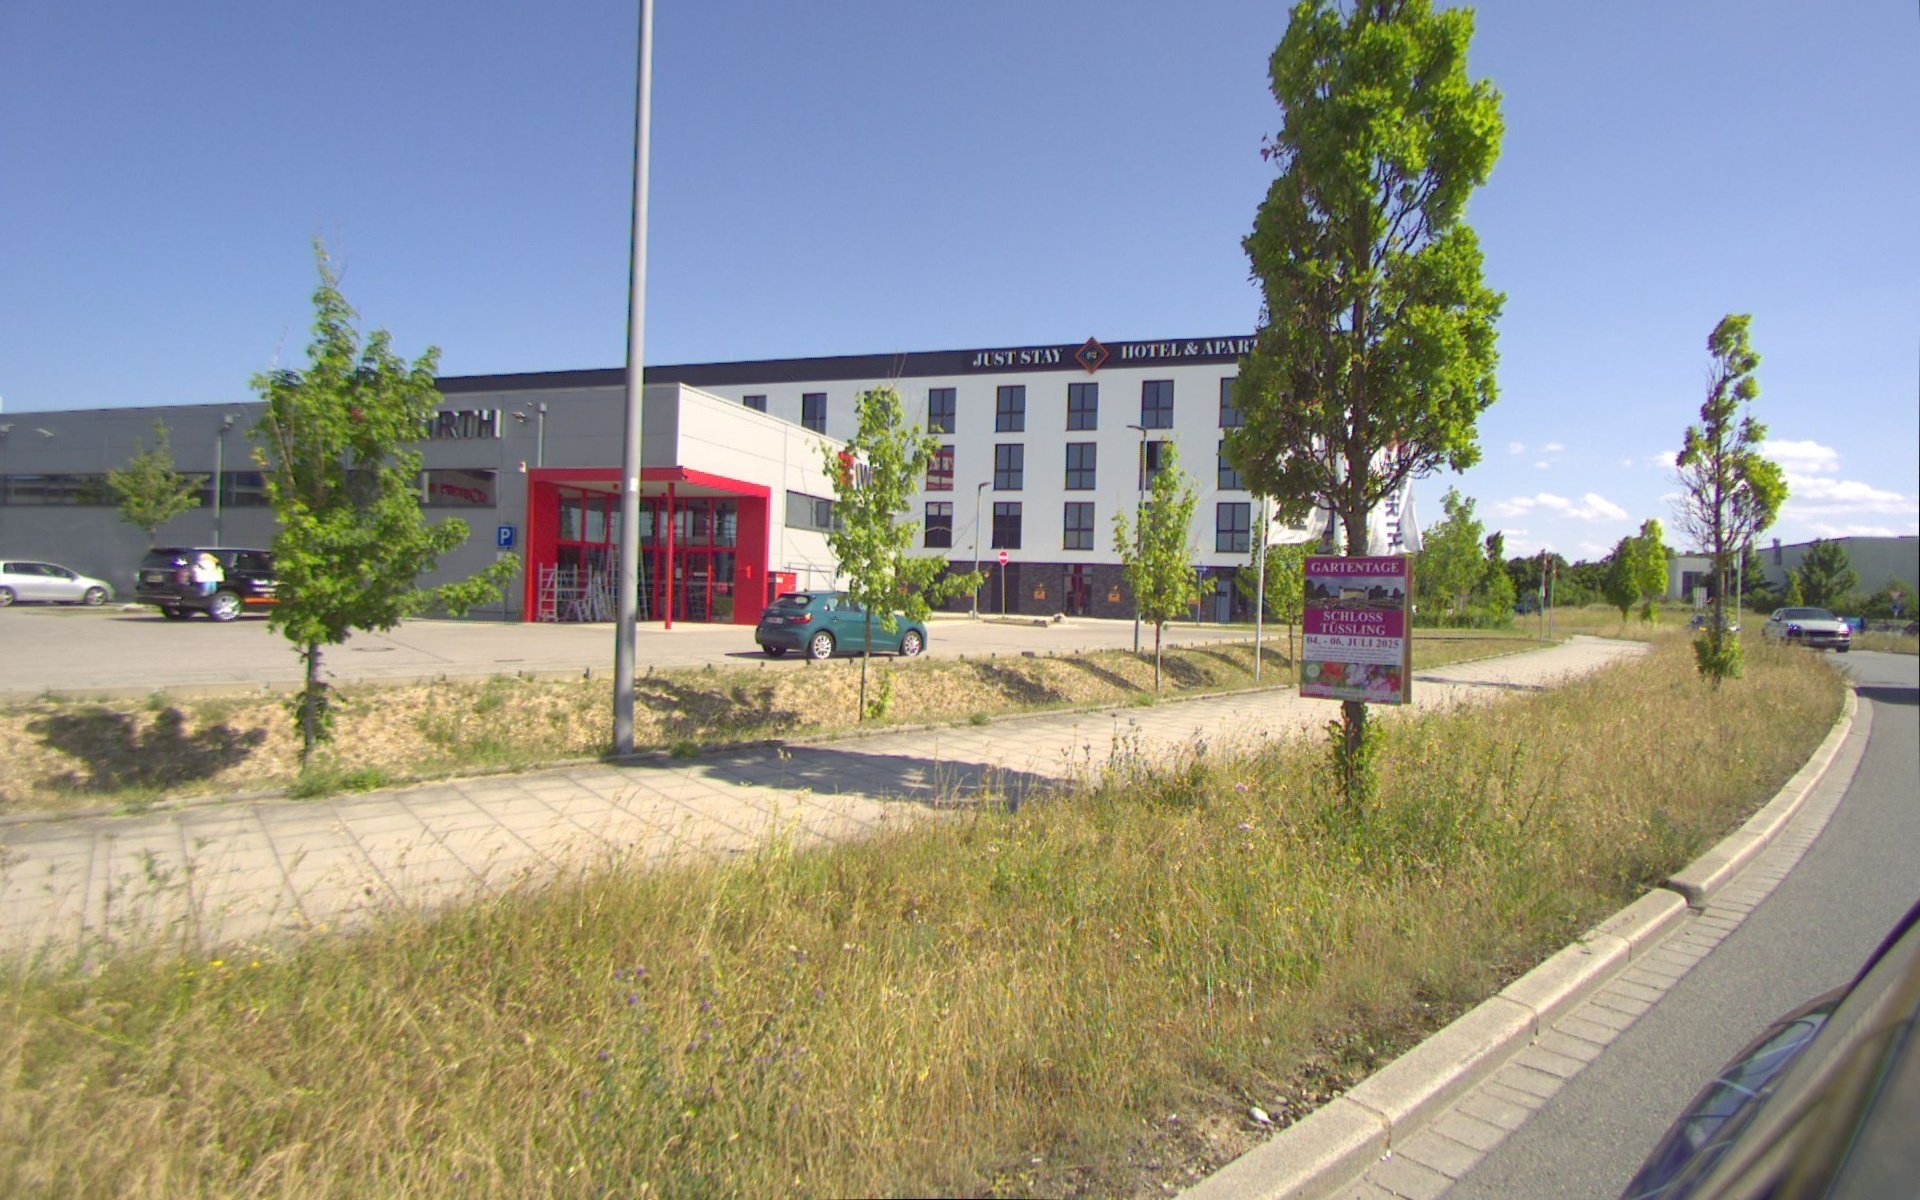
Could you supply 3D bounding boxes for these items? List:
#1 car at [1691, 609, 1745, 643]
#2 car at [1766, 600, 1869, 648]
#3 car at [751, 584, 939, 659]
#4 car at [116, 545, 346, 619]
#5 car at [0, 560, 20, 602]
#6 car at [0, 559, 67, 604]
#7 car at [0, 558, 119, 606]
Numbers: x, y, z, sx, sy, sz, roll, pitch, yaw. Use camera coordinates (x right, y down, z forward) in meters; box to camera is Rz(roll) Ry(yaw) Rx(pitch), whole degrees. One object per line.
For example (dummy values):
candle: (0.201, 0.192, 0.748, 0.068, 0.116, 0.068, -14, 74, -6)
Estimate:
car: (42.042, 1.400, 56.231, 1.742, 1.709, 4.337, 2, 1, 28)
car: (32.809, 0.930, 38.870, 2.097, 1.664, 4.727, 1, -1, 29)
car: (-2.374, 0.430, 21.578, 1.513, 1.425, 3.937, 2, 1, 43)
car: (-19.885, -0.472, 27.916, 2.023, 1.838, 4.892, 2, 1, 19)
car: (-35.178, -0.682, 34.645, 1.679, 1.480, 4.085, 1, 1, 18)
car: (-32.538, -0.638, 33.581, 1.679, 1.480, 4.085, 1, 1, 18)
car: (-30.006, -0.595, 32.716, 1.679, 1.480, 4.085, 1, 1, 18)
